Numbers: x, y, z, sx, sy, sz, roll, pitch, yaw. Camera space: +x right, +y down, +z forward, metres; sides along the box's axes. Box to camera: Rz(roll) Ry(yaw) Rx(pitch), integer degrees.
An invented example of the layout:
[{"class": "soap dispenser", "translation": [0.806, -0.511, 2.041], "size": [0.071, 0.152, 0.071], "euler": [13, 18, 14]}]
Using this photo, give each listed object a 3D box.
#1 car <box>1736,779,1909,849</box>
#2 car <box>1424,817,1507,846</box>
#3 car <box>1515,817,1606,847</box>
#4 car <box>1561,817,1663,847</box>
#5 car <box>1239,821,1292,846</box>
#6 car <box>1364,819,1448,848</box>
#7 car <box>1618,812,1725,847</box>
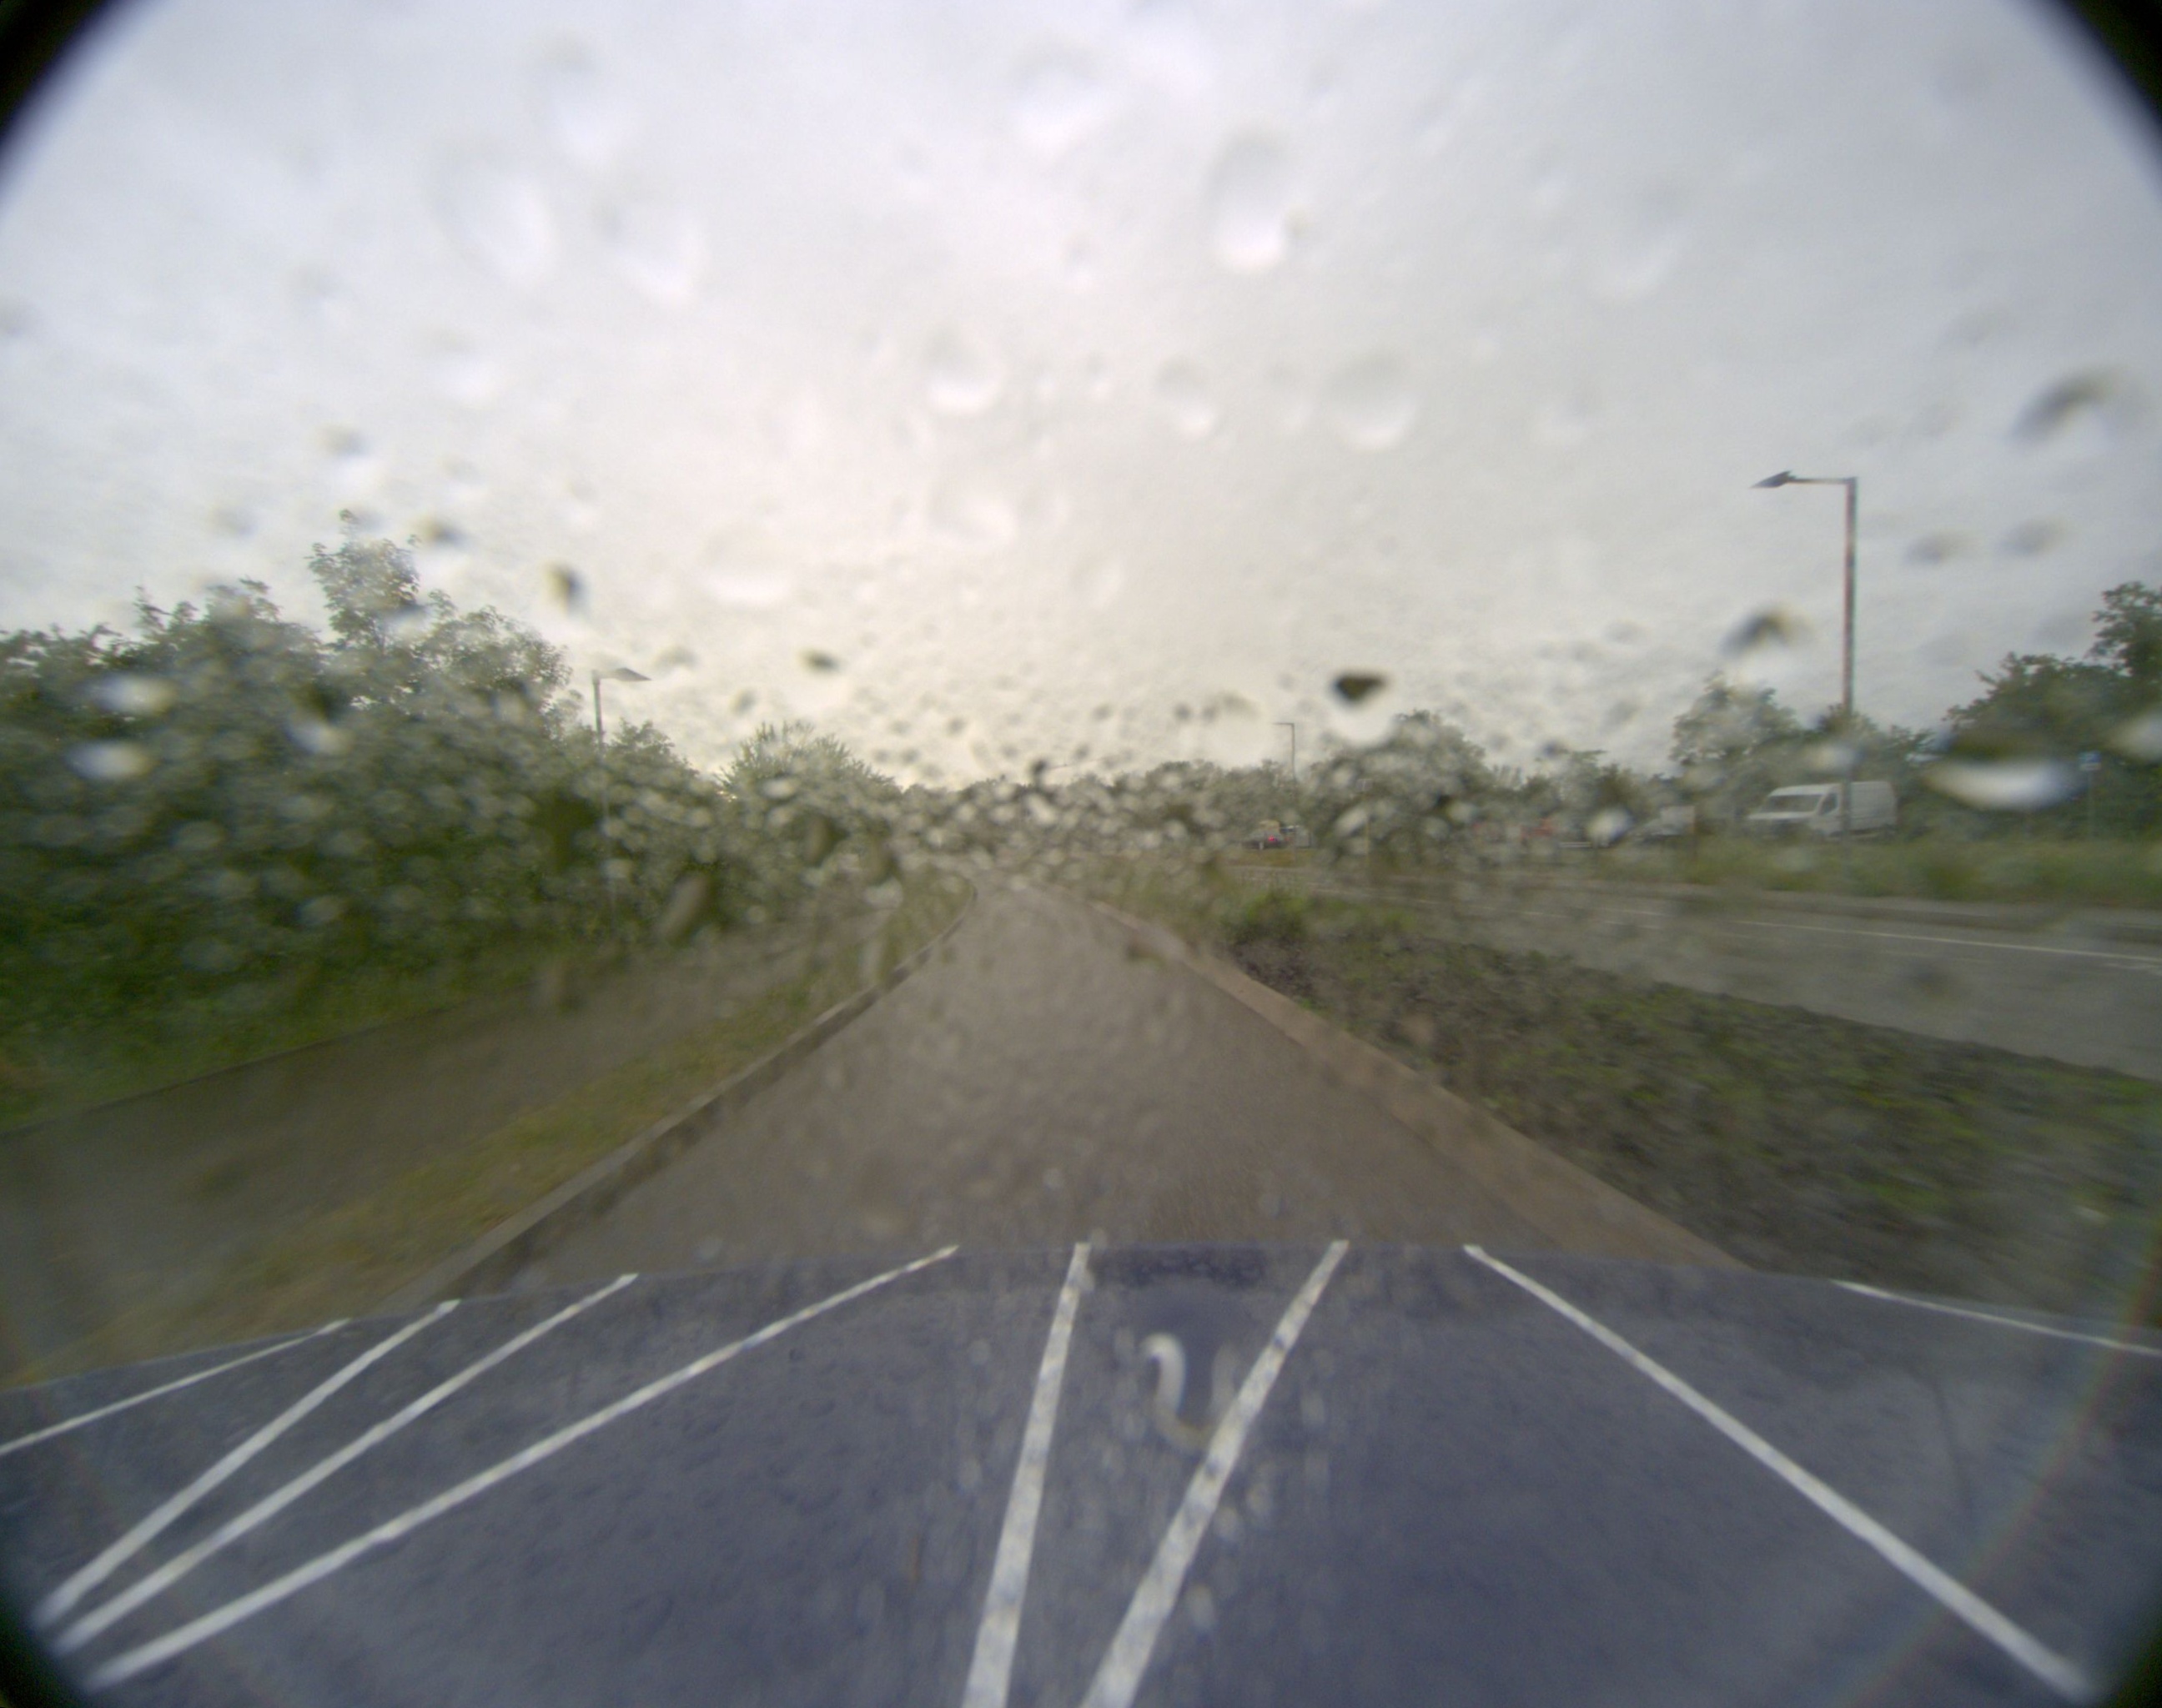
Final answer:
[{"class": "car", "translation": [28.657, -1.582, 29.357], "size": [6.582, 2.384, 2.134], "euler": [-3, 3, -20]}, {"class": "car", "translation": [22.501, -1.303, 44.497], "size": [4.001, 1.356, 1.897], "euler": [-4, 2, -14]}, {"class": "car", "translation": [24.964, -1.139, 39.595], "size": [4.002, 1.461, 1.845], "euler": [-2, 1, -16]}, {"class": "car", "translation": [25.447, -1.048, 36.443], "size": [4.002, 1.356, 1.845], "euler": [-2, 1, -15]}, {"class": "car", "translation": [13.739, -1.516, 56.927], "size": [1.698, 1.559, 4.535], "euler": [-5, 1, -17]}, {"class": "car", "translation": [20.831, -1.317, 48.714], "size": [4.724, 1.683, 2.001], "euler": [-2, 1, -17]}, {"class": "car", "translation": [26.413, -1.080, 34.007], "size": [4.002, 1.356, 1.650], "euler": [-3, 2, -15]}]
